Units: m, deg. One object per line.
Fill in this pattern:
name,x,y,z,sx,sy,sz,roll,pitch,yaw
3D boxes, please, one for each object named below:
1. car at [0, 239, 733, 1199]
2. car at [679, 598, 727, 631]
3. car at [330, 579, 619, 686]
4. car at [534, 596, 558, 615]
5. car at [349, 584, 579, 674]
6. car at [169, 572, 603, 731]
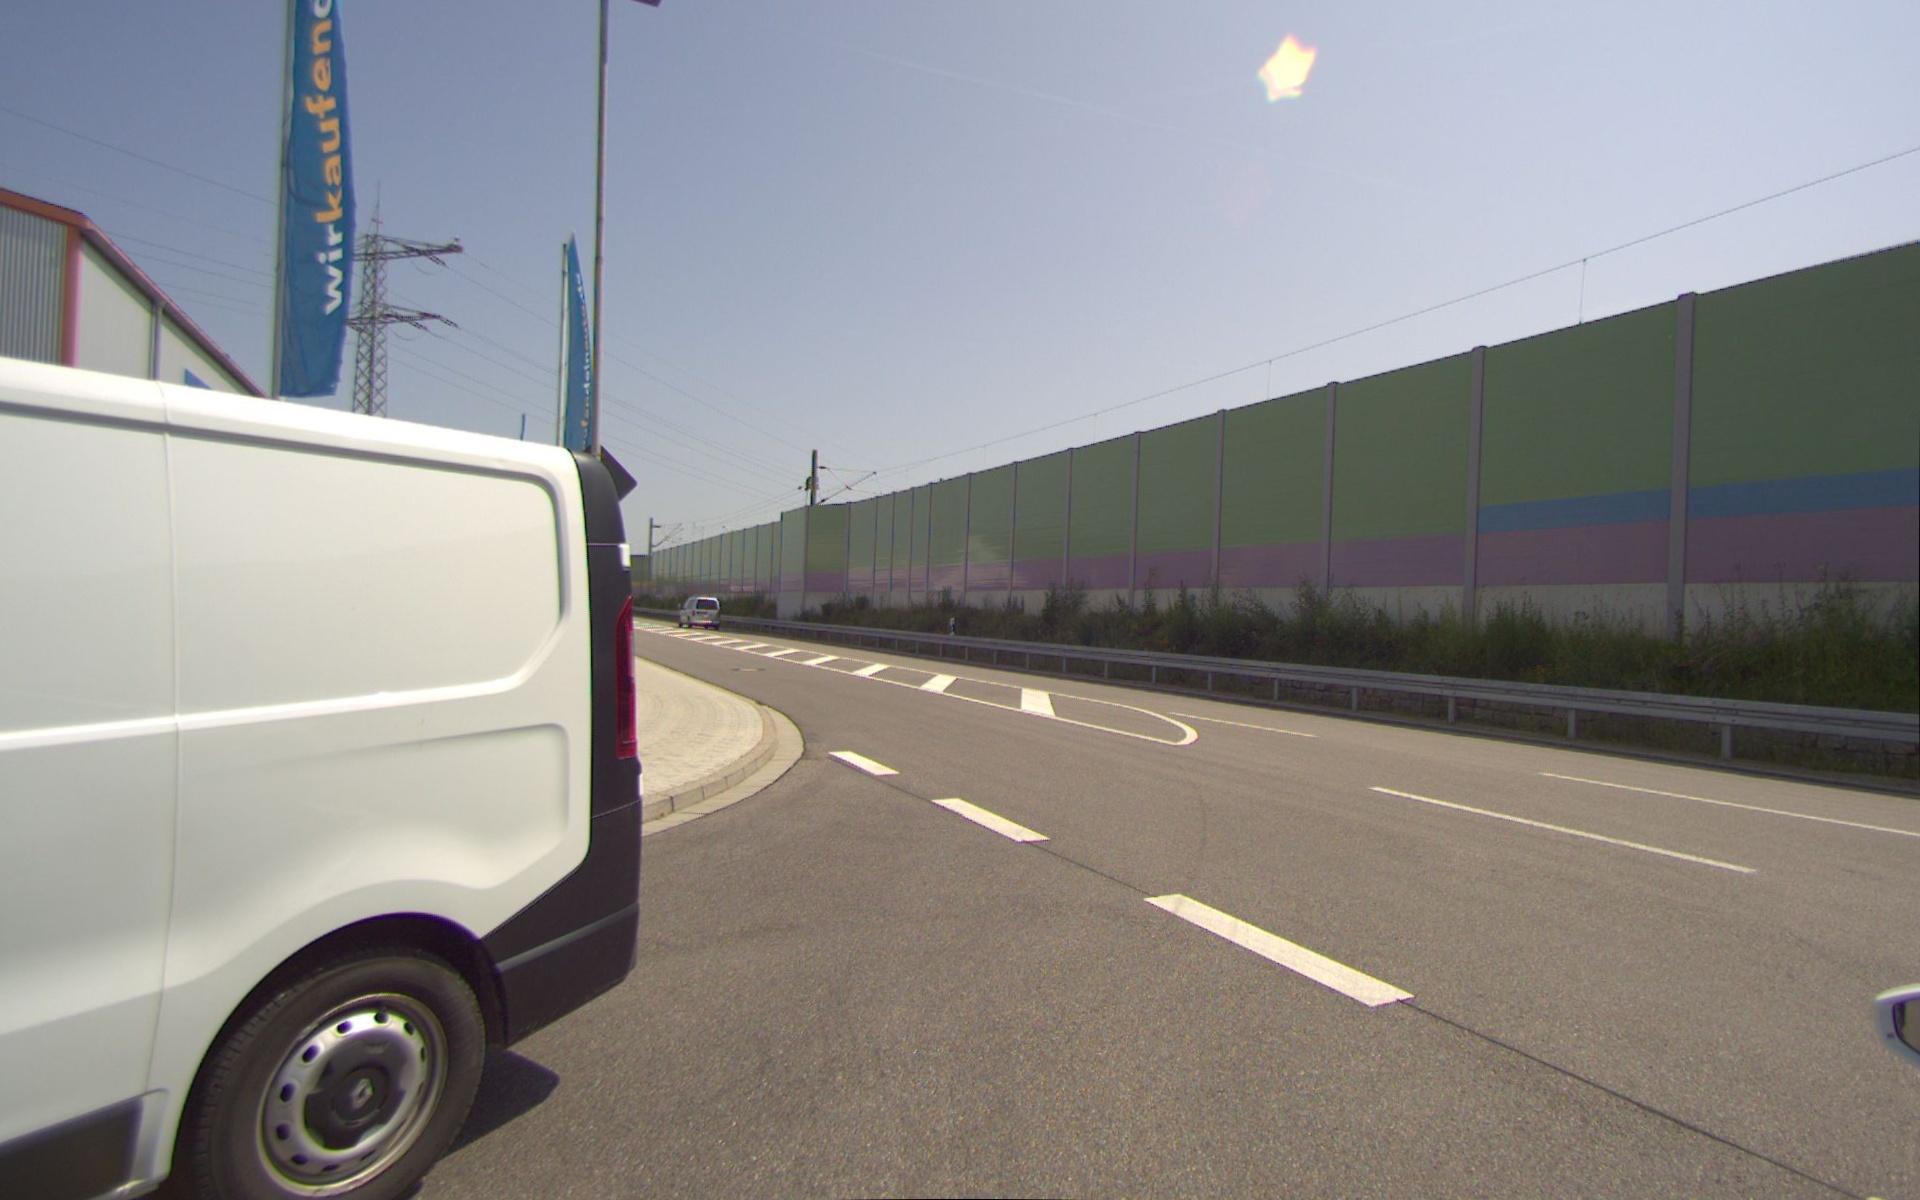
car,-2.818,0.403,1.774,1.973,2.088,4.804,0,-1,30
car,-14.843,0.820,57.950,1.973,1.780,3.976,3,-1,-24
car,-7.744,0.516,16.128,3.958,1.522,1.758,2,0,-34
car,-37.657,0.492,91.282,1.724,1.615,3.771,2,-1,-26
car,-9.104,0.554,18.639,1.565,1.484,3.473,2,-1,38
car,-6.295,0.554,11.416,3.953,1.522,1.761,2,0,-30
